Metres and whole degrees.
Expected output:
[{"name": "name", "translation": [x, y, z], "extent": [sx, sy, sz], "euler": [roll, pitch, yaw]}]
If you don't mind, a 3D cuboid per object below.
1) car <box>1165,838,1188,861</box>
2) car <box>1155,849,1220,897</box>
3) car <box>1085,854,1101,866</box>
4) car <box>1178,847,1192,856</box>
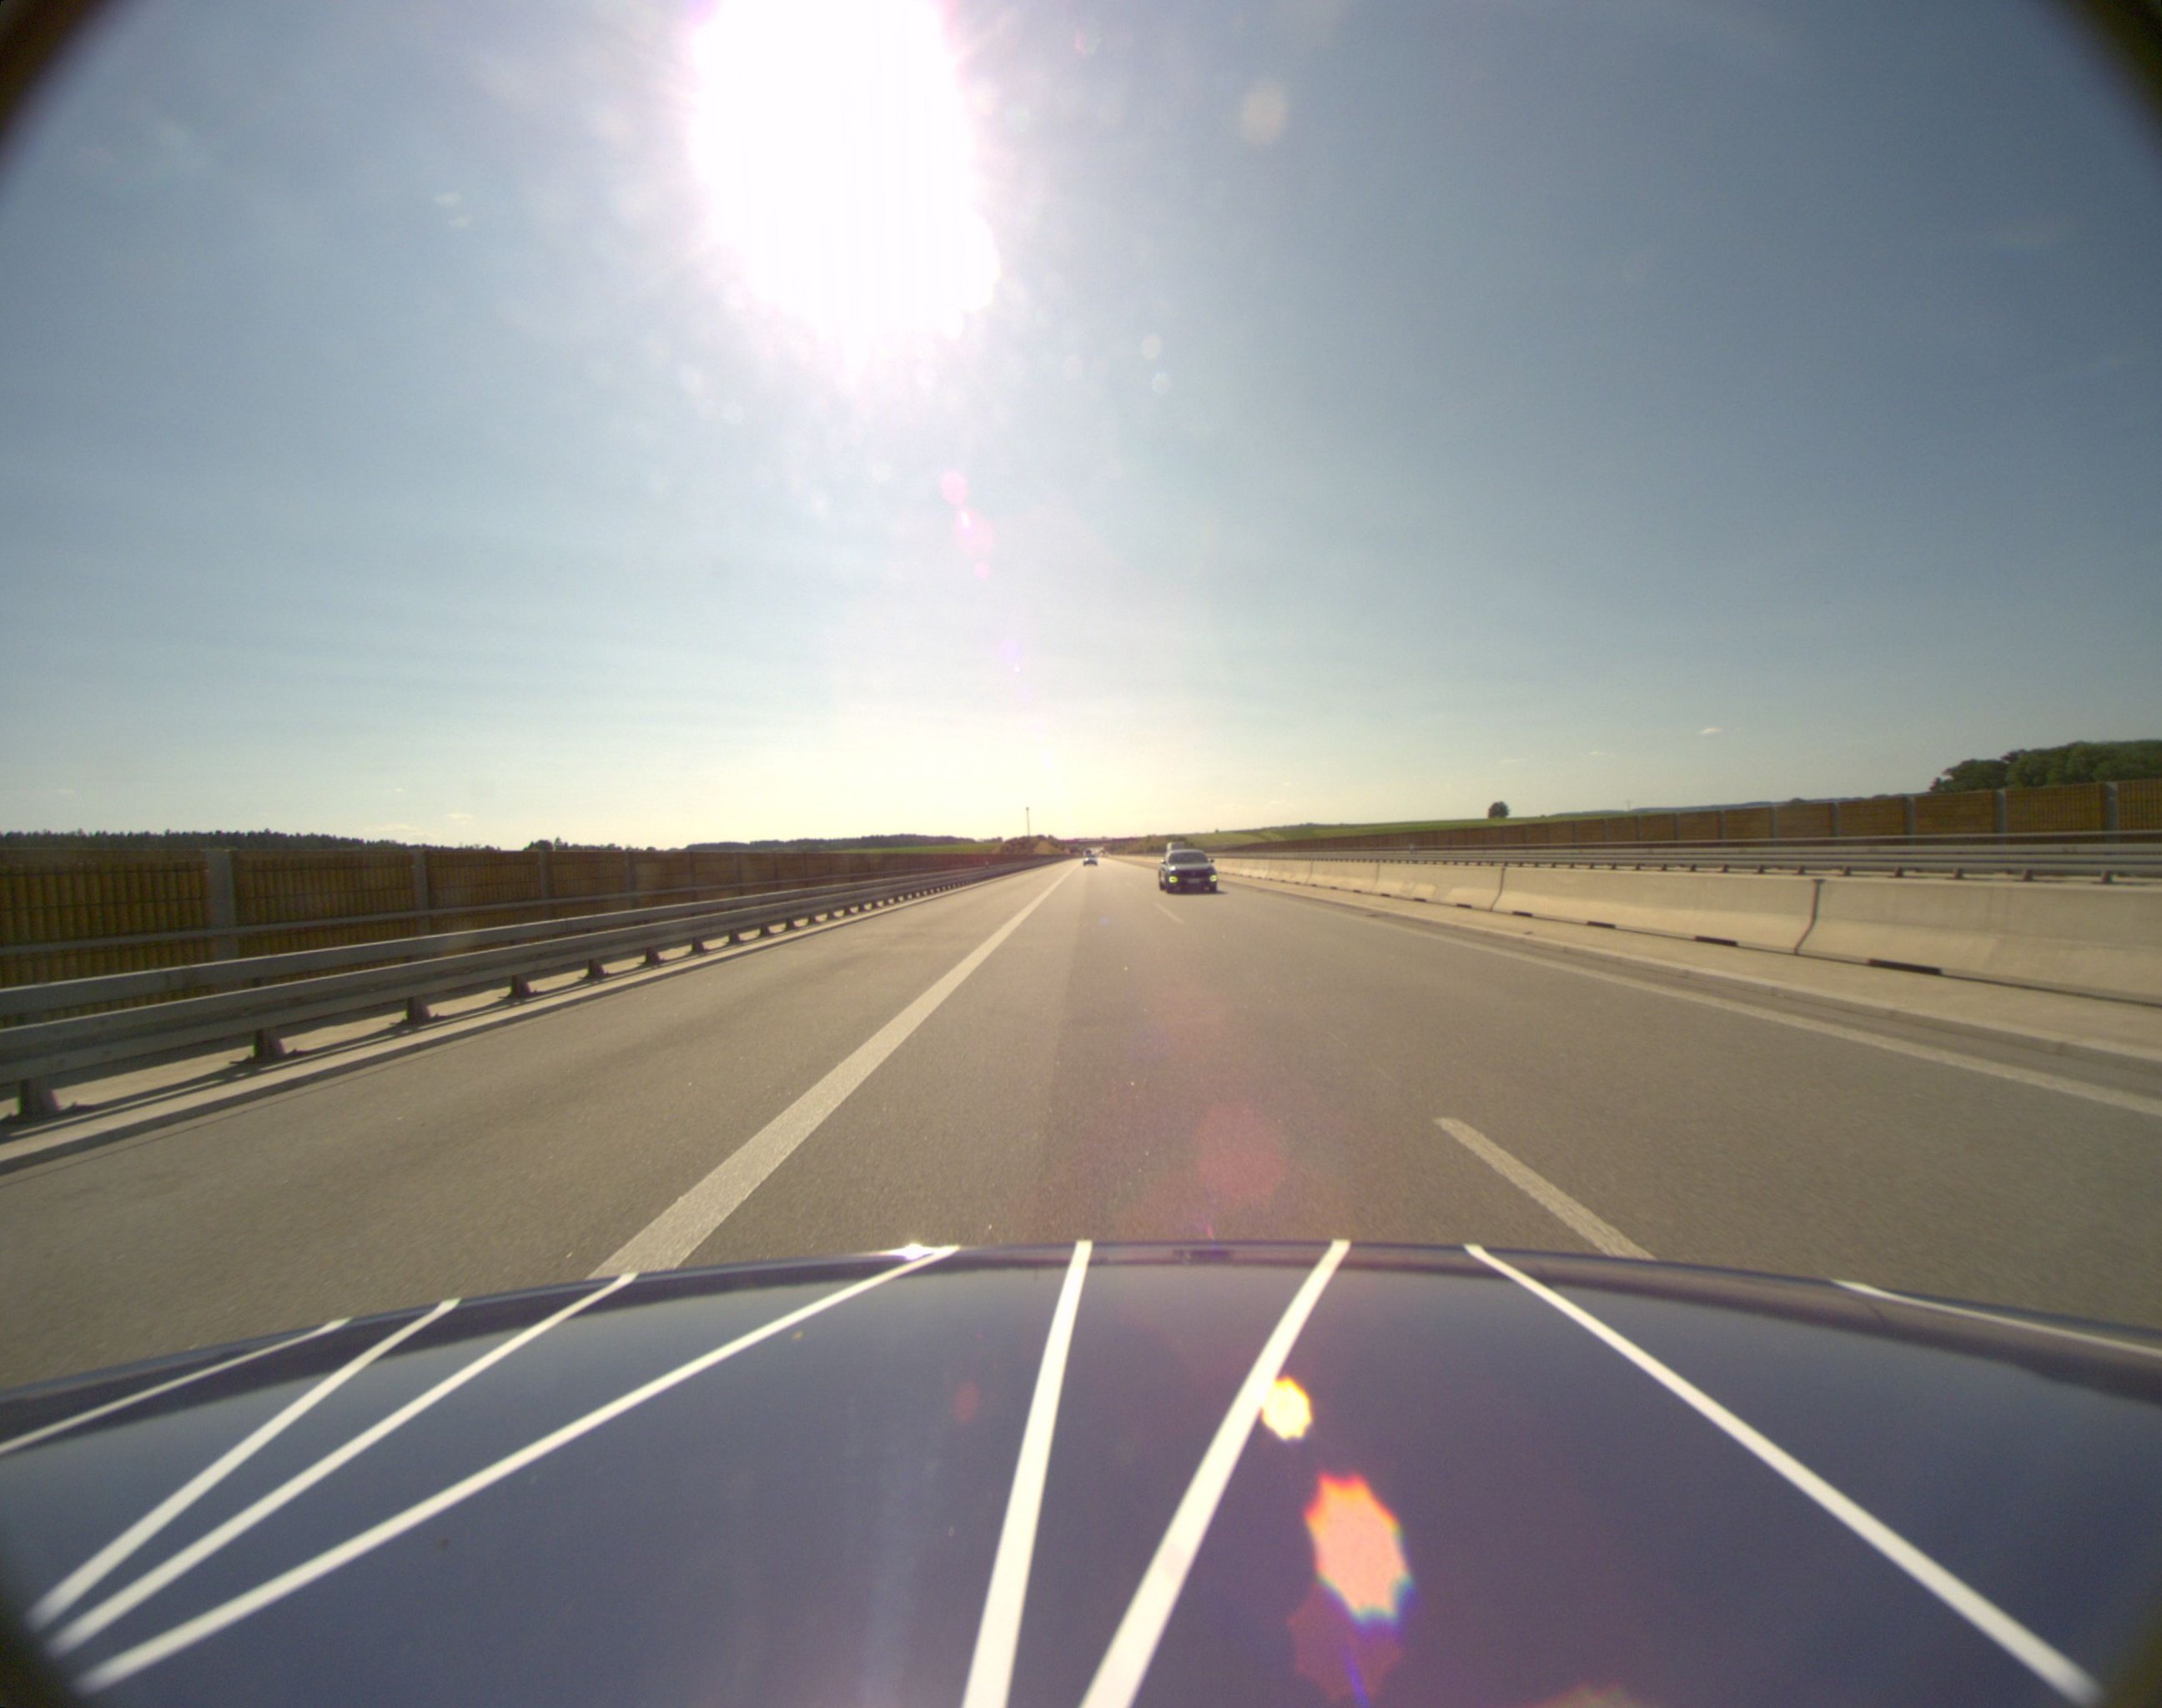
[{"name": "car", "translation": [12.104, -0.555, 96.511], "extent": [2.028, 2.654, 6.486], "euler": [-2, 0, 0]}, {"name": "car", "translation": [3.901, 0.643, 28.637], "extent": [1.776, 1.560, 4.988], "euler": [-2, 0, 1]}, {"name": "car", "translation": [1.532, 0.733, 96.328], "extent": [1.909, 1.449, 4.376], "euler": [-2, 0, 2]}, {"name": "car", "translation": [17.053, -0.393, 124.880], "extent": [1.651, 1.500, 4.332], "euler": [-2, 0, 1]}]
